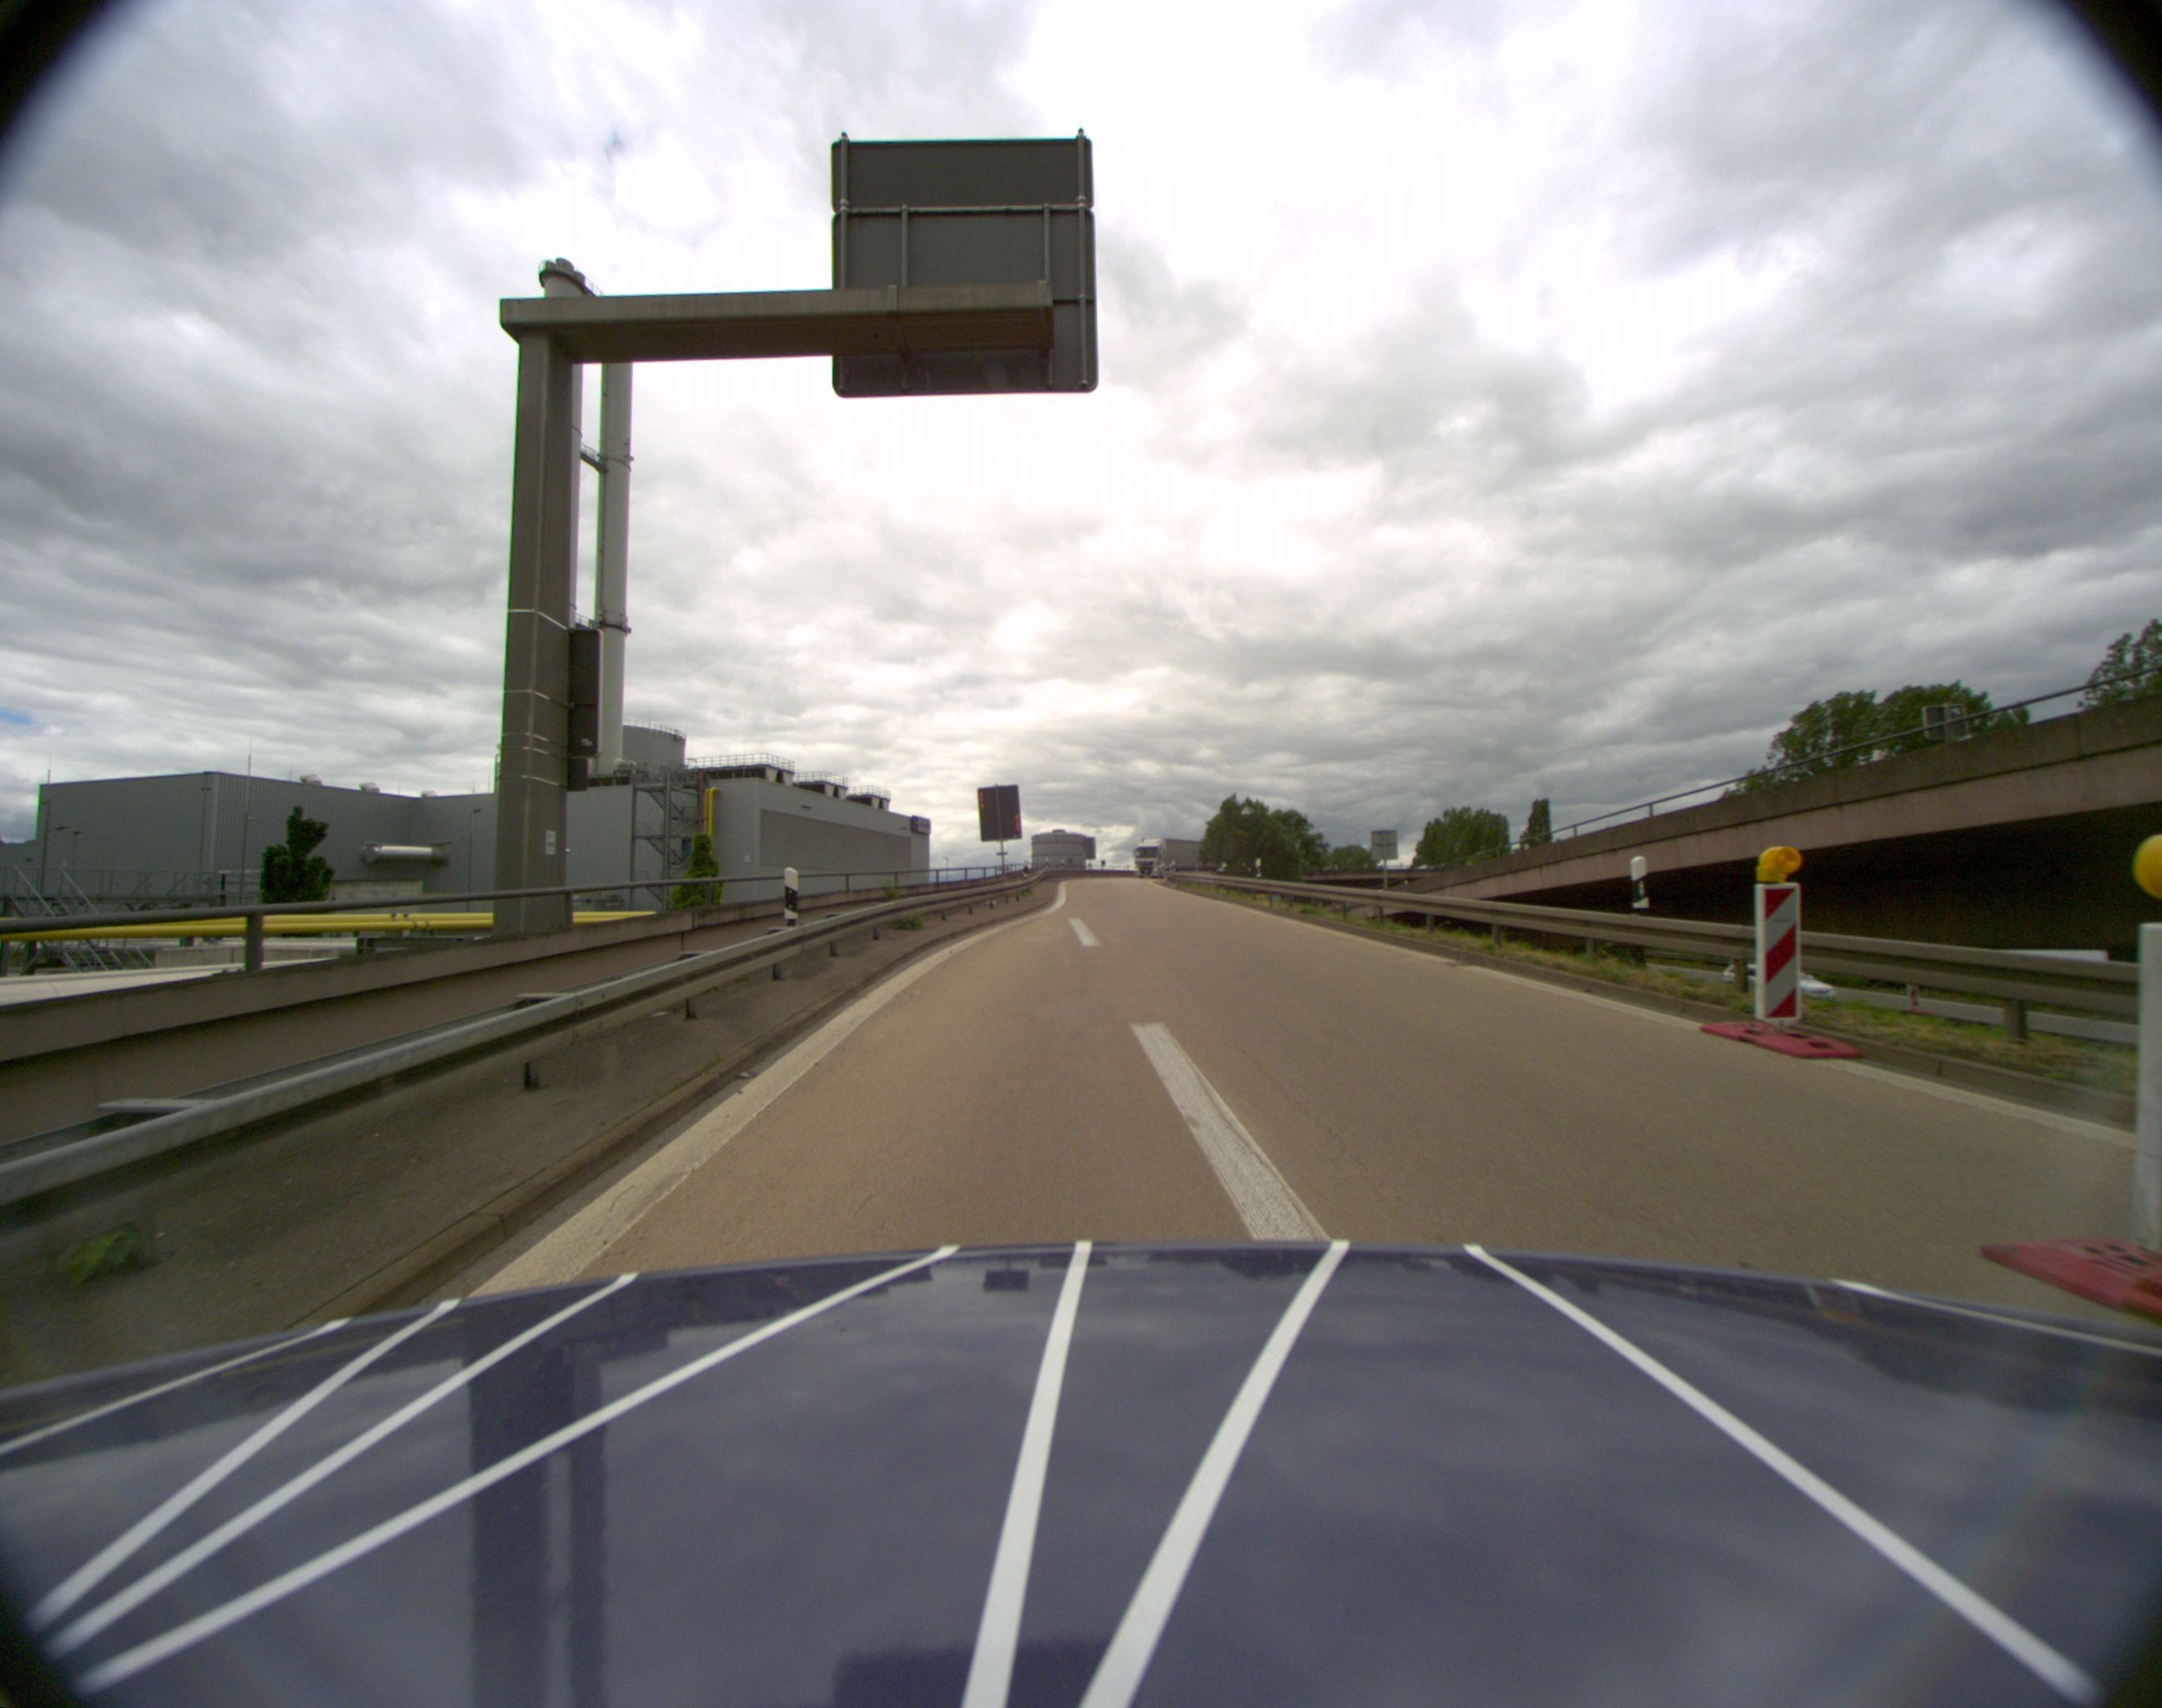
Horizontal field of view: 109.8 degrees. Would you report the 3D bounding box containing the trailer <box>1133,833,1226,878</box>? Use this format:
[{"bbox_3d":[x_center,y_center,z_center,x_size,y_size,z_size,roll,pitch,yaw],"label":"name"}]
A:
[{"bbox_3d":[10.673,0.364,80.270,4.118,4.217,13.924,-3,-3,32],"label":"trailer"}]

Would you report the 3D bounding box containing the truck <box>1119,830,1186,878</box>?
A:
[{"bbox_3d":[7.052,0.130,74.238,4.157,4.276,5.979,-3,-3,32],"label":"truck"}]
